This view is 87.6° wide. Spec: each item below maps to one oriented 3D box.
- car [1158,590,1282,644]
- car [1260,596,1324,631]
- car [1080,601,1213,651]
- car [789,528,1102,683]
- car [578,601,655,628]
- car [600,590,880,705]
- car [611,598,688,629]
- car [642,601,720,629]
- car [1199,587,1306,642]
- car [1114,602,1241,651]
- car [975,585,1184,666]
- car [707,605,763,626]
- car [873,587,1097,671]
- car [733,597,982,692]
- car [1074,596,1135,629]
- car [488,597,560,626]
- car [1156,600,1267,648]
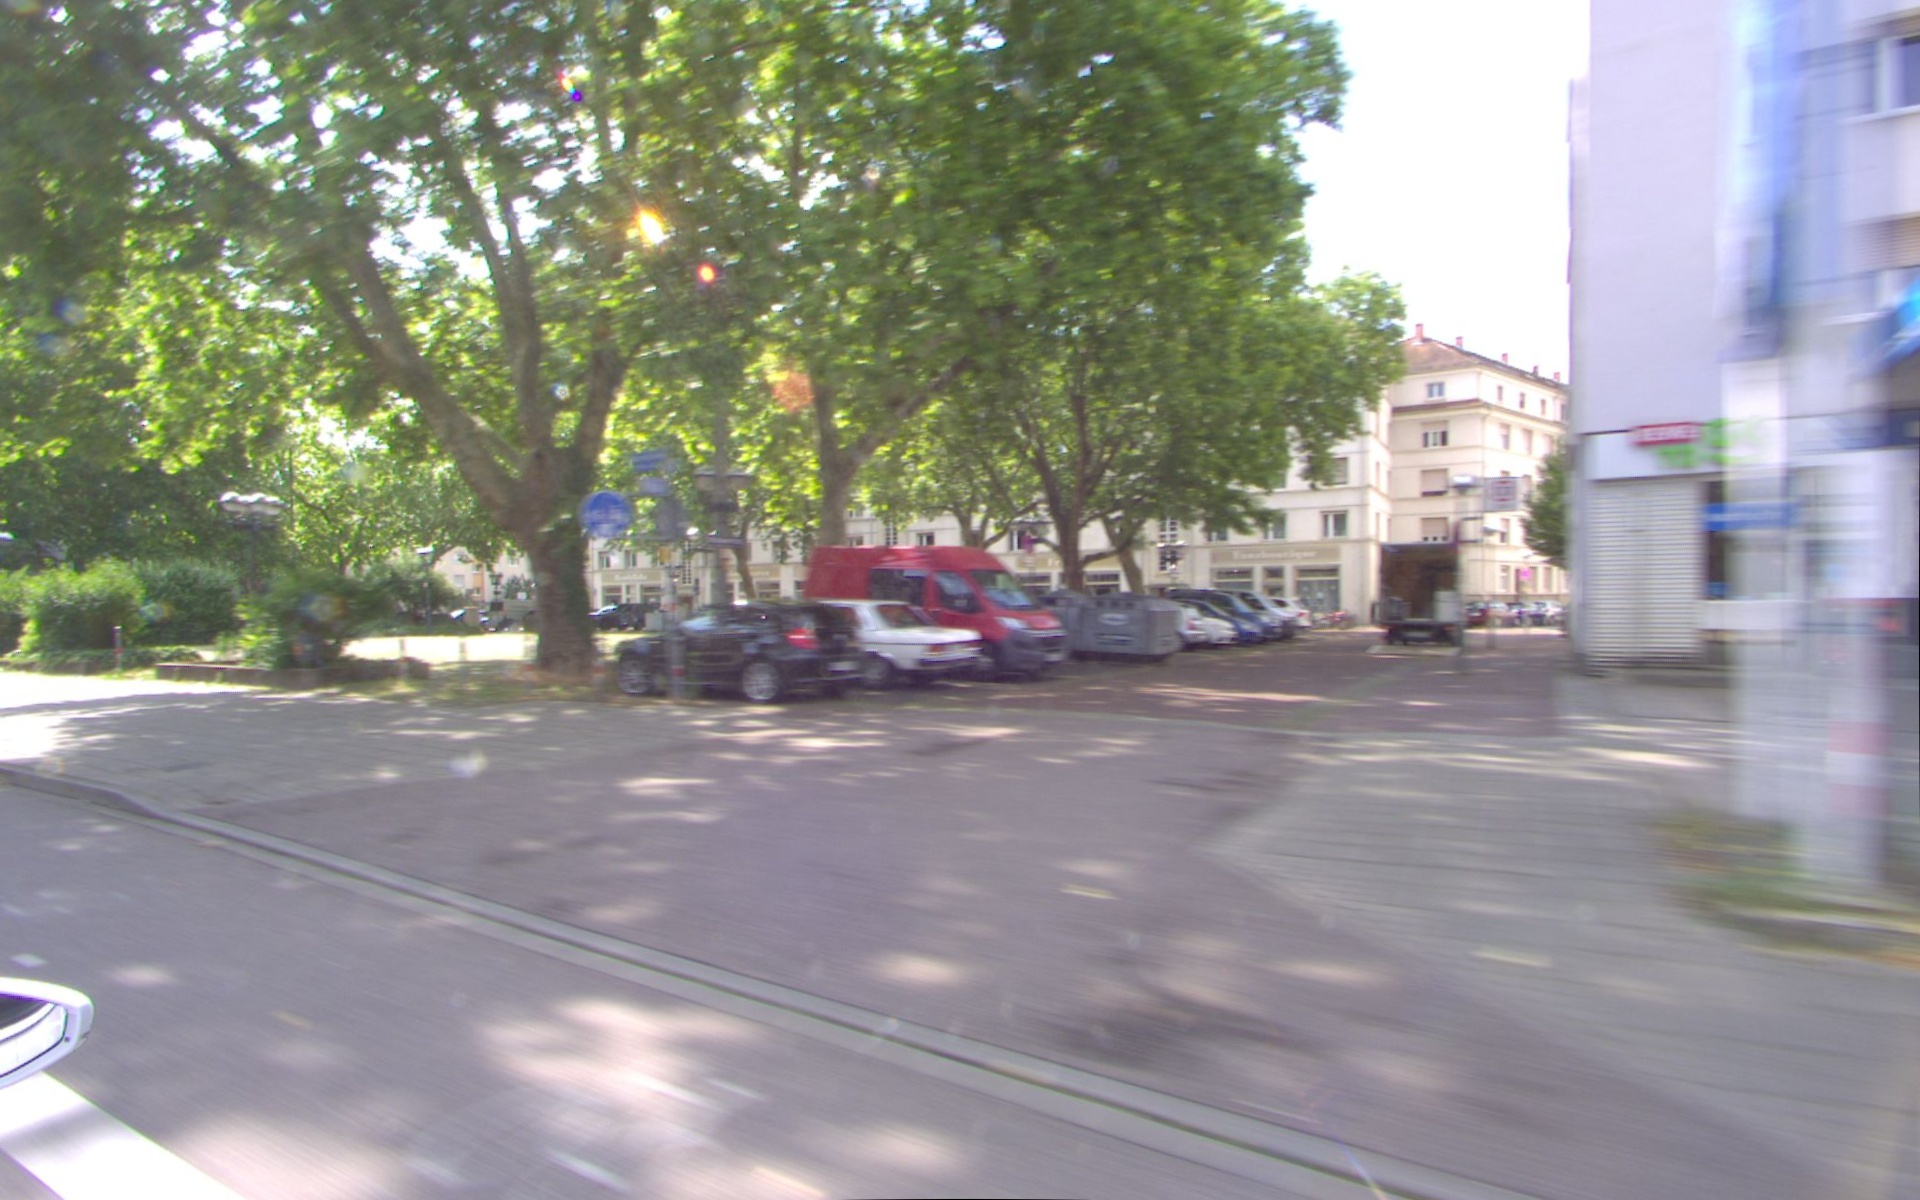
[{"bbox_3d":[9.332,0.591,35.994,3.986,1.844,1.820,0,-1,29],"label":"car"},{"bbox_3d":[18.207,0.713,54.747,2.161,1.828,4.731,0,0,34],"label":"car"},{"bbox_3d":[5.509,0.751,29.648,3.587,1.381,1.578,0,-1,29],"label":"car"},{"bbox_3d":[-0.389,0.104,19.402,5.935,2.617,2.106,0,1,33],"label":"car"},{"bbox_3d":[-23.344,0.968,68.192,2.161,1.729,4.669,0,0,34],"label":"car"},{"bbox_3d":[-3.283,0.620,14.730,3.983,1.490,1.646,0,1,31],"label":"car"},{"bbox_3d":[-20.783,0.874,67.156,2.161,1.955,4.669,0,0,34],"label":"car"},{"bbox_3d":[-18.438,0.976,66.367,2.161,1.729,4.669,0,0,34],"label":"car"},{"bbox_3d":[11.108,0.539,38.071,3.587,2.014,1.820,0,-1,29],"label":"car"},{"bbox_3d":[6.811,0.810,31.468,3.587,1.433,1.643,0,-1,29],"label":"car"},{"bbox_3d":[2.827,0.590,24.079,4.587,1.777,2.002,0,-1,33],"label":"car"},{"bbox_3d":[-17.569,1.187,78.351,1.957,1.541,4.246,0,0,31],"label":"car"},{"bbox_3d":[0.493,0.607,22.051,4.587,1.672,2.002,0,-1,33],"label":"car"},{"bbox_3d":[-1.759,0.689,16.942,3.980,1.448,1.647,0,1,28],"label":"car"},{"bbox_3d":[8.895,0.715,61.229,2.008,1.955,4.672,0,0,31],"label":"car"},{"bbox_3d":[-31.743,0.792,72.999,2.048,2.040,4.404,0,0,33],"label":"car"},{"bbox_3d":[8.398,0.779,33.477,3.326,1.528,1.597,0,-1,29],"label":"car"}]
